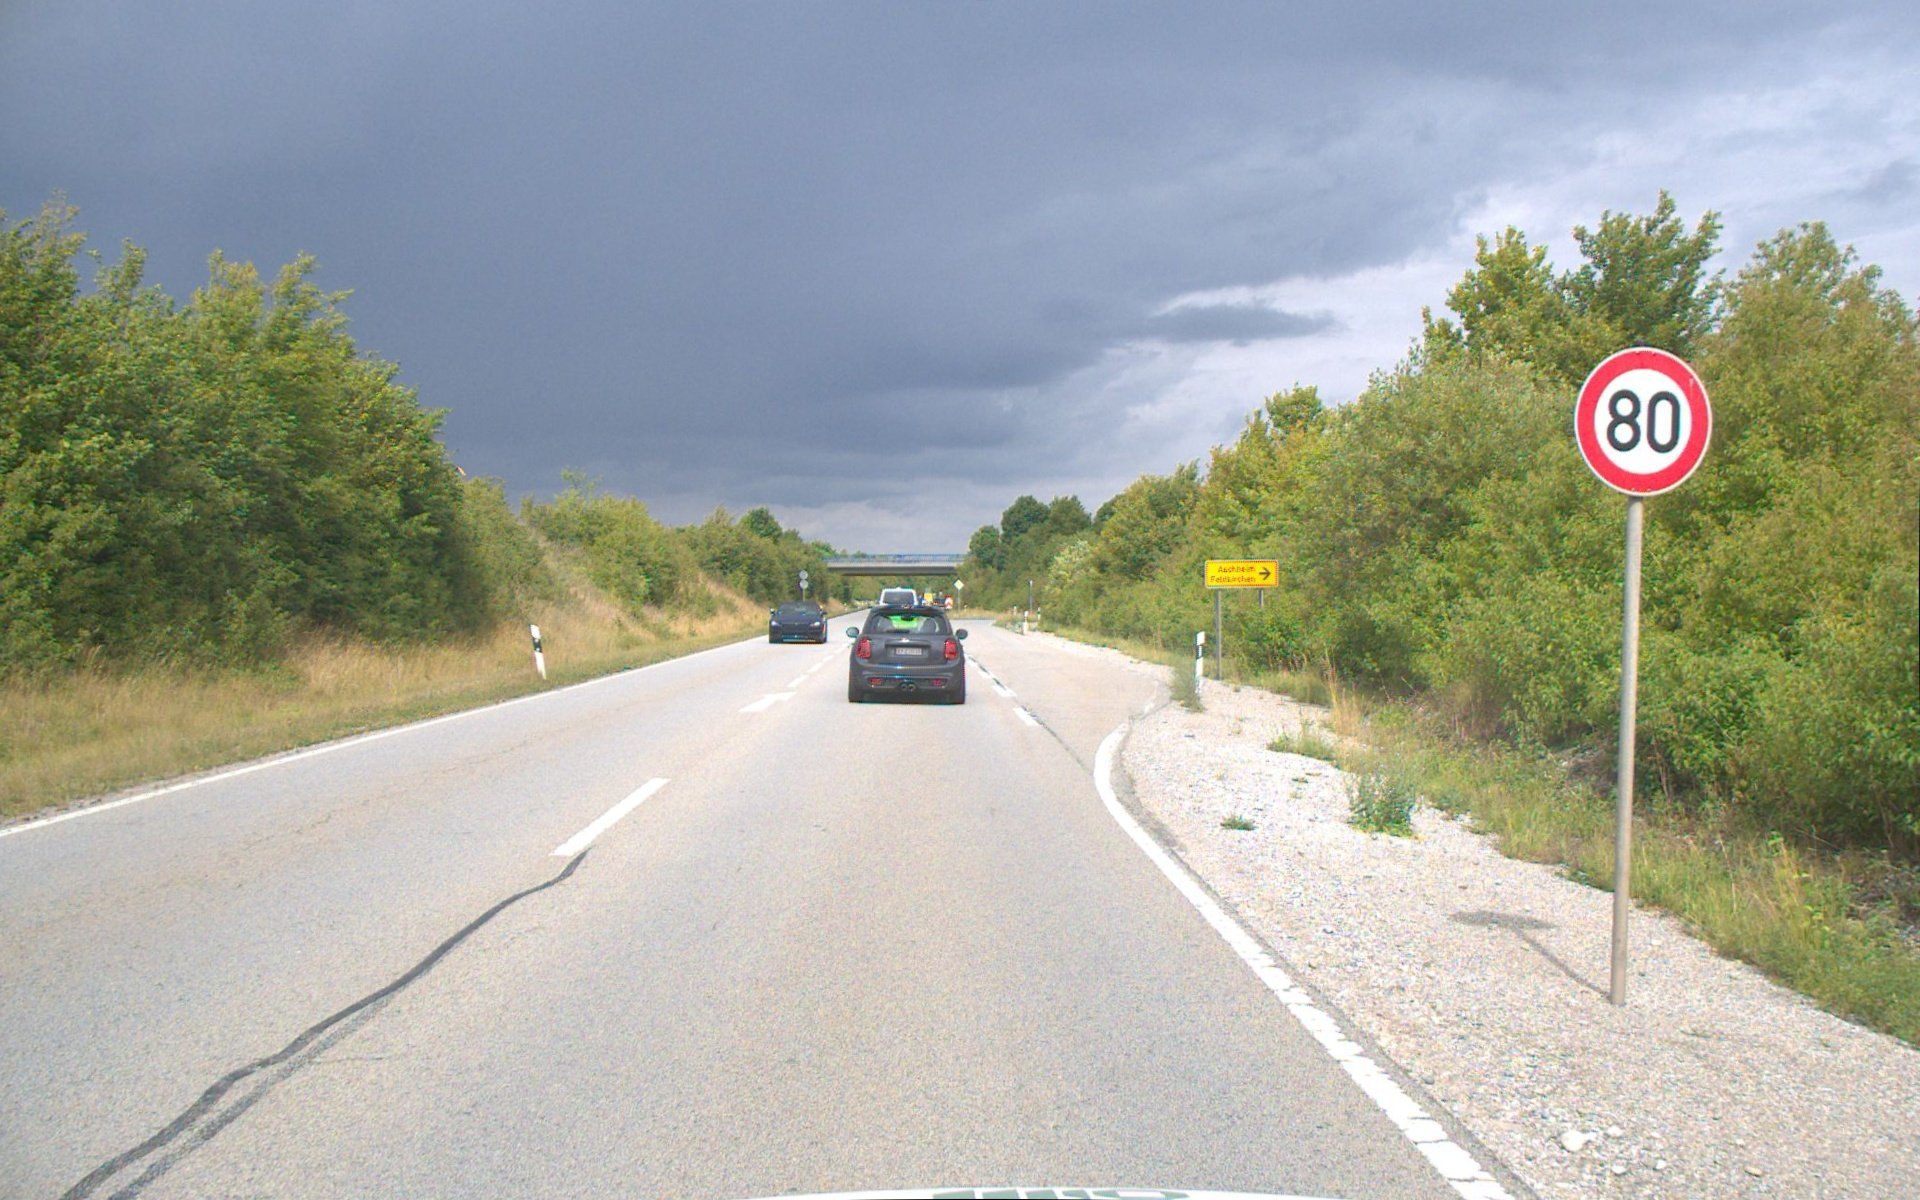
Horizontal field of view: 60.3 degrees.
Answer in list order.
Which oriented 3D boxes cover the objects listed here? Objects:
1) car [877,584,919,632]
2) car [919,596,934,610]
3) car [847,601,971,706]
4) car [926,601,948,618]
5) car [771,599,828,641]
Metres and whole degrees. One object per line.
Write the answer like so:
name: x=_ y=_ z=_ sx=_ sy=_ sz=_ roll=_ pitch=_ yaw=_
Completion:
car: x=-2.803 y=0.338 z=74.850 sx=1.783 sy=2.090 sz=3.998 roll=1 pitch=0 yaw=-2
car: x=-4.359 y=0.347 z=212.464 sx=1.745 sy=1.736 sz=3.997 roll=1 pitch=0 yaw=-4
car: x=-0.788 y=0.757 z=25.389 sx=1.721 sy=1.452 sz=3.998 roll=1 pitch=0 yaw=-2
car: x=-2.348 y=0.934 z=166.096 sx=1.954 sy=1.579 sz=3.997 roll=1 pitch=0 yaw=-4
car: x=-5.373 y=0.649 z=55.704 sx=1.667 sy=1.353 sz=3.998 roll=-1 pitch=0 yaw=-2
